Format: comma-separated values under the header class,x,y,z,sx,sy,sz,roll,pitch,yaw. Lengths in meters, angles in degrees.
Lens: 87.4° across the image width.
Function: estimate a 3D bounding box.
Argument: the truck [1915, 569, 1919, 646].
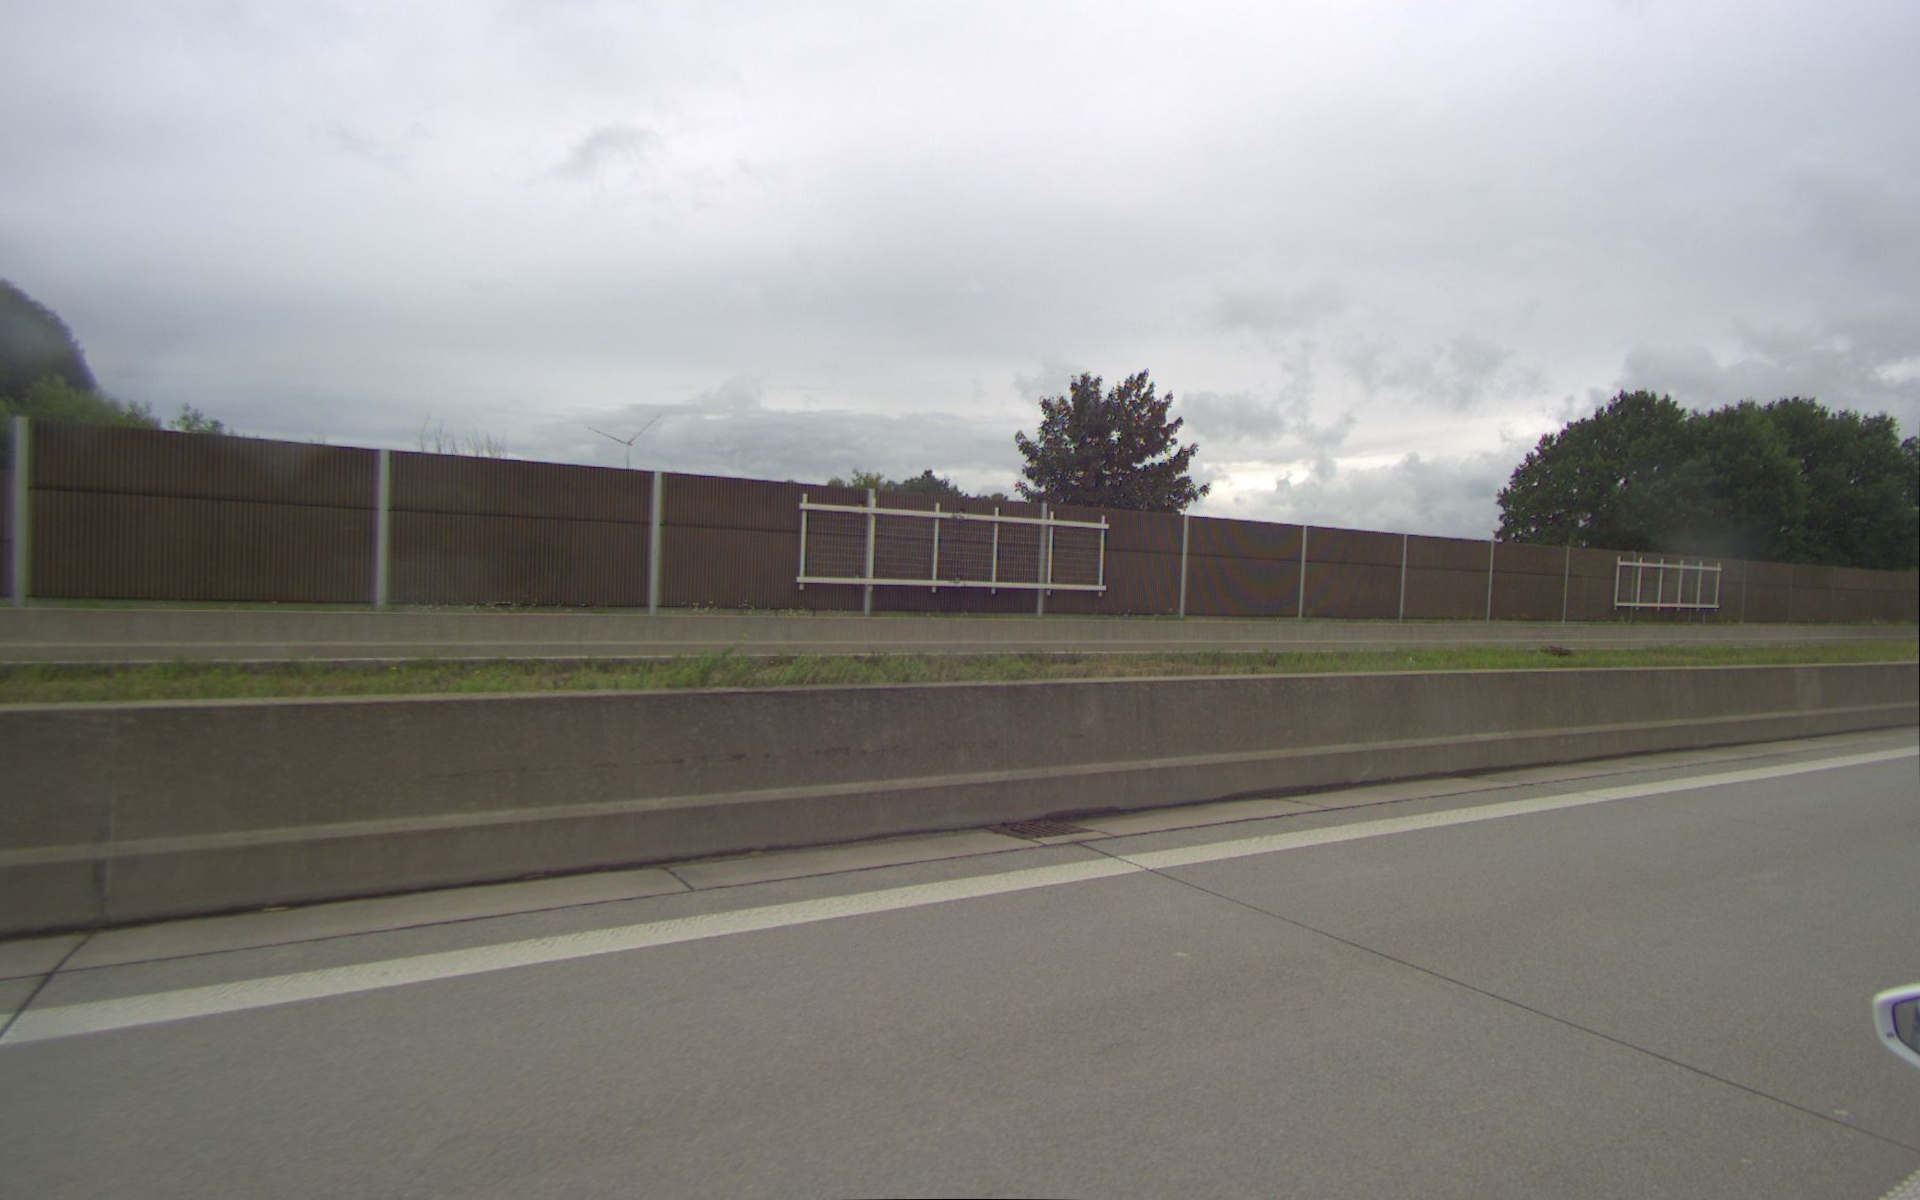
class,x,y,z,sx,sy,sz,roll,pitch,yaw
truck,55.033,0.507,54.763,6.145,4.138,2.669,1,0,-31
